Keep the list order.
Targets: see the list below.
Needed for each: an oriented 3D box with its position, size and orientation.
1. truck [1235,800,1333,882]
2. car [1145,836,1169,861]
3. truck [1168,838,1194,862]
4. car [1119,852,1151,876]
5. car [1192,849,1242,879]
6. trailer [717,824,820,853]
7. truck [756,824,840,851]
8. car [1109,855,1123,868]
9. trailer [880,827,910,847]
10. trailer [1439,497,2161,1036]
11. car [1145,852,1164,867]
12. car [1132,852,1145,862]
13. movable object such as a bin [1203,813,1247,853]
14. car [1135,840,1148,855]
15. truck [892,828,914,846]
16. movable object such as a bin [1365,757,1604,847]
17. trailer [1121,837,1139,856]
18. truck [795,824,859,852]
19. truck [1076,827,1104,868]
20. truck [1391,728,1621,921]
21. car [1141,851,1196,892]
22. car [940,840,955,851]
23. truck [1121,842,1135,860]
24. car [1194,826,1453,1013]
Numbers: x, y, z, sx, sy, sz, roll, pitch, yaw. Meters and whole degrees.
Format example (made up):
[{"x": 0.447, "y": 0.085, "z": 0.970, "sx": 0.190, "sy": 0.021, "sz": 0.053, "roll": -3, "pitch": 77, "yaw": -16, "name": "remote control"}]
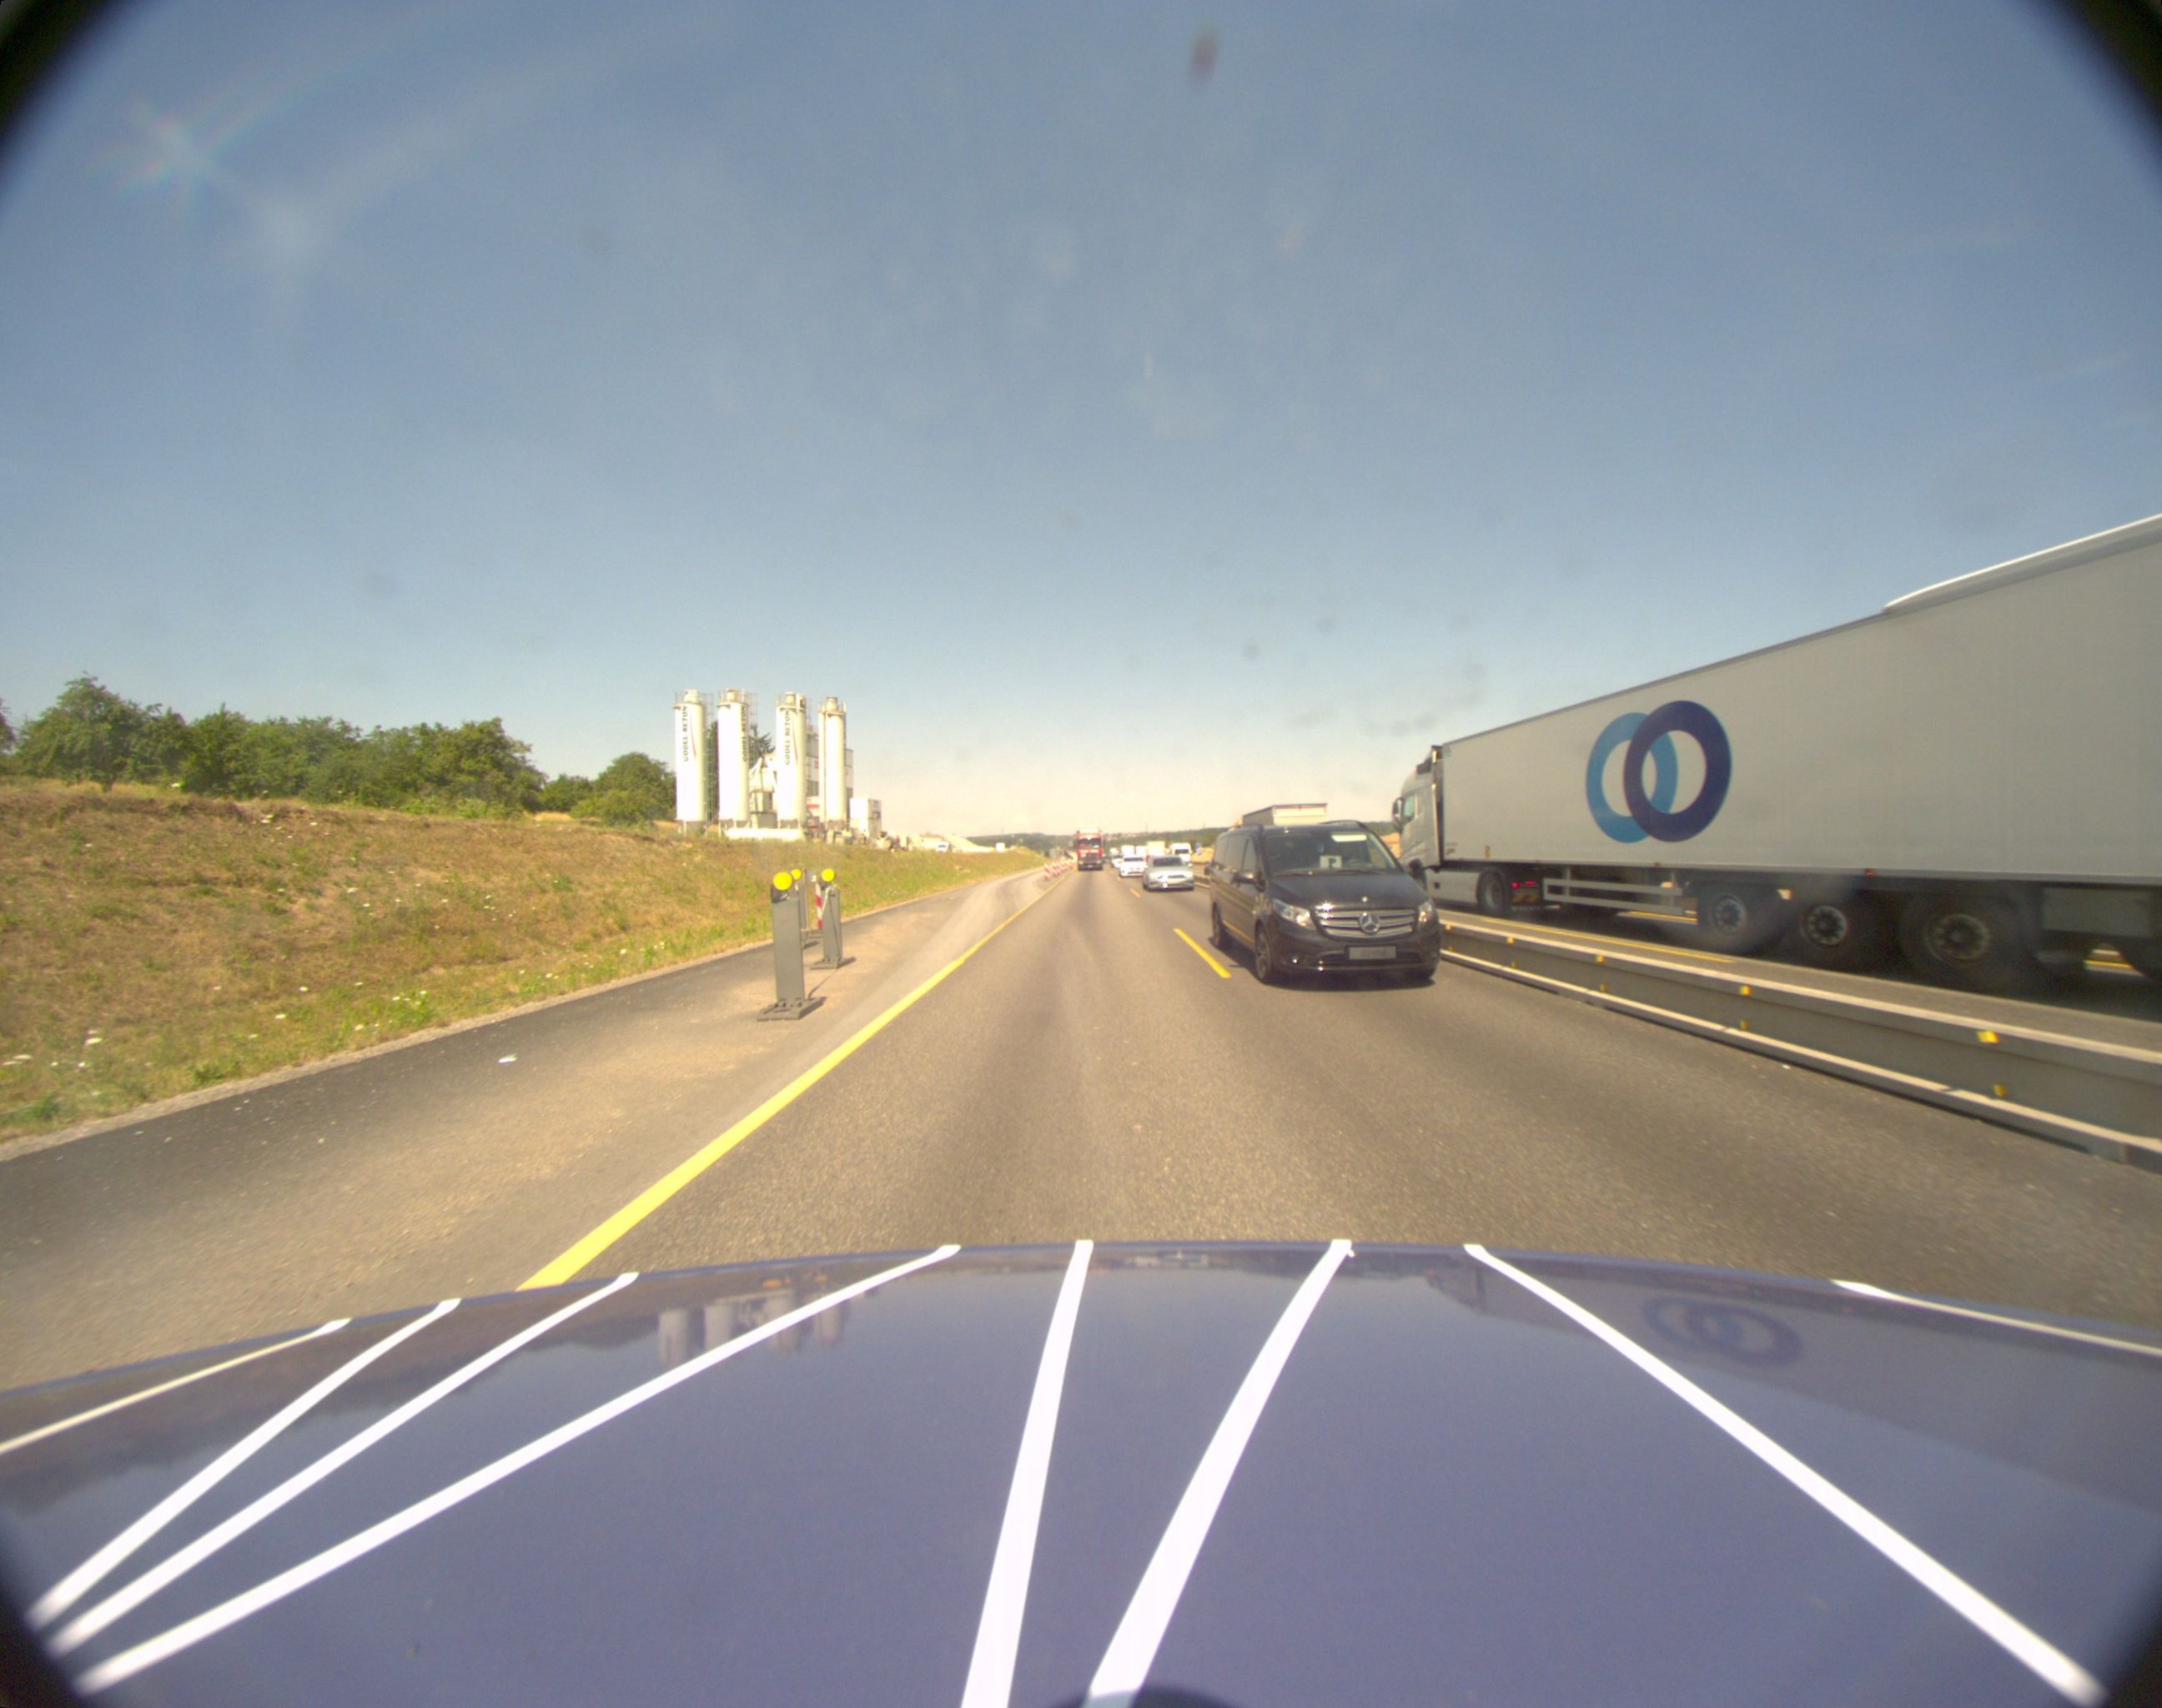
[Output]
[{"x": 10.350, "y": -0.660, "z": 39.893, "sx": 2.651, "sy": 3.695, "sz": 9.482, "roll": -2, "pitch": 1, "yaw": 1, "name": "truck"}, {"x": 12.025, "y": -0.777, "z": 120.723, "sx": 2.915, "sy": 3.718, "sz": 8.091, "roll": -2, "pitch": 0, "yaw": 1, "name": "car"}, {"x": 11.438, "y": -0.392, "z": 87.534, "sx": 2.103, "sy": 2.554, "sz": 6.355, "roll": -3, "pitch": -1, "yaw": 0, "name": "truck"}, {"x": 3.548, "y": 0.649, "z": 50.500, "sx": 1.875, "sy": 1.390, "sz": 4.030, "roll": -2, "pitch": 1, "yaw": 2, "name": "car"}, {"x": 7.282, "y": 0.476, "z": 41.122, "sx": 1.862, "sy": 1.434, "sz": 4.500, "roll": -2, "pitch": 1, "yaw": 0, "name": "car"}, {"x": -30.494, "y": -1.535, "z": 74.411, "sx": 8.919, "sy": 2.592, "sz": 2.463, "roll": -1, "pitch": 1, "yaw": -2, "name": "trailer"}, {"x": -33.589, "y": -1.916, "z": 90.355, "sx": 9.090, "sy": 2.852, "sz": 2.460, "roll": -2, "pitch": 1, "yaw": 7, "name": "truck"}, {"x": 4.118, "y": 0.865, "z": 89.878, "sx": 1.601, "sy": 1.390, "sz": 3.695, "roll": -2, "pitch": 1, "yaw": 2, "name": "car"}, {"x": -26.659, "y": -2.424, "z": 109.209, "sx": 1.998, "sy": 2.629, "sz": 6.937, "roll": -2, "pitch": 1, "yaw": 4, "name": "trailer"}, {"x": 9.684, "y": -0.733, "z": 10.943, "sx": 2.861, "sy": 4.070, "sz": 13.651, "roll": -1, "pitch": 1, "yaw": 1, "name": "trailer"}, {"x": 7.986, "y": 0.550, "z": 82.662, "sx": 1.631, "sy": 1.476, "sz": 4.053, "roll": -2, "pitch": 1, "yaw": 1, "name": "car"}, {"x": 9.128, "y": 0.400, "z": 120.871, "sx": 1.793, "sy": 1.473, "sz": 4.561, "roll": -2, "pitch": 1, "yaw": 1, "name": "car"}, {"x": 27.350, "y": -3.979, "z": 144.900, "sx": 7.378, "sy": 7.073, "sz": 4.081, "roll": -2, "pitch": 1, "yaw": 1, "name": "movable object such as a bin"}, {"x": 12.122, "y": -1.347, "z": 153.176, "sx": 2.257, "sy": 2.938, "sz": 5.848, "roll": -2, "pitch": 1, "yaw": 1, "name": "car"}, {"x": -26.385, "y": -2.499, "z": 112.820, "sx": 2.021, "sy": 2.530, "sz": 4.041, "roll": -2, "pitch": 1, "yaw": 4, "name": "truck"}, {"x": 34.105, "y": -4.338, "z": 64.686, "sx": 18.265, "sy": 6.734, "sz": 3.388, "roll": -2, "pitch": 1, "yaw": 1, "name": "movable object such as a bin"}, {"x": 12.415, "y": -1.894, "z": 193.453, "sx": 2.994, "sy": 4.570, "sz": 12.877, "roll": -2, "pitch": 1, "yaw": -4, "name": "trailer"}, {"x": -25.303, "y": -1.622, "z": 75.812, "sx": 5.317, "sy": 2.530, "sz": 2.897, "roll": -3, "pitch": 1, "yaw": -35, "name": "truck"}, {"x": 0.983, "y": -0.685, "z": 77.949, "sx": 2.537, "sy": 3.798, "sz": 9.481, "roll": -2, "pitch": 1, "yaw": 2, "name": "truck"}, {"x": 9.825, "y": -0.634, "z": 18.223, "sx": 2.855, "sy": 3.995, "sz": 4.859, "roll": -1, "pitch": 1, "yaw": 1, "name": "truck"}, {"x": 3.535, "y": 0.693, "z": 31.310, "sx": 1.804, "sy": 1.499, "sz": 4.100, "roll": -2, "pitch": 0, "yaw": 1, "name": "car"}, {"x": -23.470, "y": -1.502, "z": 133.632, "sx": 1.990, "sy": 1.752, "sz": 3.601, "roll": -2, "pitch": 1, "yaw": 1, "name": "car"}, {"x": 8.743, "y": -0.542, "z": 141.917, "sx": 2.276, "sy": 3.132, "sz": 7.313, "roll": -2, "pitch": 1, "yaw": 2, "name": "truck"}, {"x": 2.885, "y": 0.673, "z": 10.507, "sx": 1.878, "sy": 1.840, "sz": 5.479, "roll": -2, "pitch": 0, "yaw": 1, "name": "car"}]
